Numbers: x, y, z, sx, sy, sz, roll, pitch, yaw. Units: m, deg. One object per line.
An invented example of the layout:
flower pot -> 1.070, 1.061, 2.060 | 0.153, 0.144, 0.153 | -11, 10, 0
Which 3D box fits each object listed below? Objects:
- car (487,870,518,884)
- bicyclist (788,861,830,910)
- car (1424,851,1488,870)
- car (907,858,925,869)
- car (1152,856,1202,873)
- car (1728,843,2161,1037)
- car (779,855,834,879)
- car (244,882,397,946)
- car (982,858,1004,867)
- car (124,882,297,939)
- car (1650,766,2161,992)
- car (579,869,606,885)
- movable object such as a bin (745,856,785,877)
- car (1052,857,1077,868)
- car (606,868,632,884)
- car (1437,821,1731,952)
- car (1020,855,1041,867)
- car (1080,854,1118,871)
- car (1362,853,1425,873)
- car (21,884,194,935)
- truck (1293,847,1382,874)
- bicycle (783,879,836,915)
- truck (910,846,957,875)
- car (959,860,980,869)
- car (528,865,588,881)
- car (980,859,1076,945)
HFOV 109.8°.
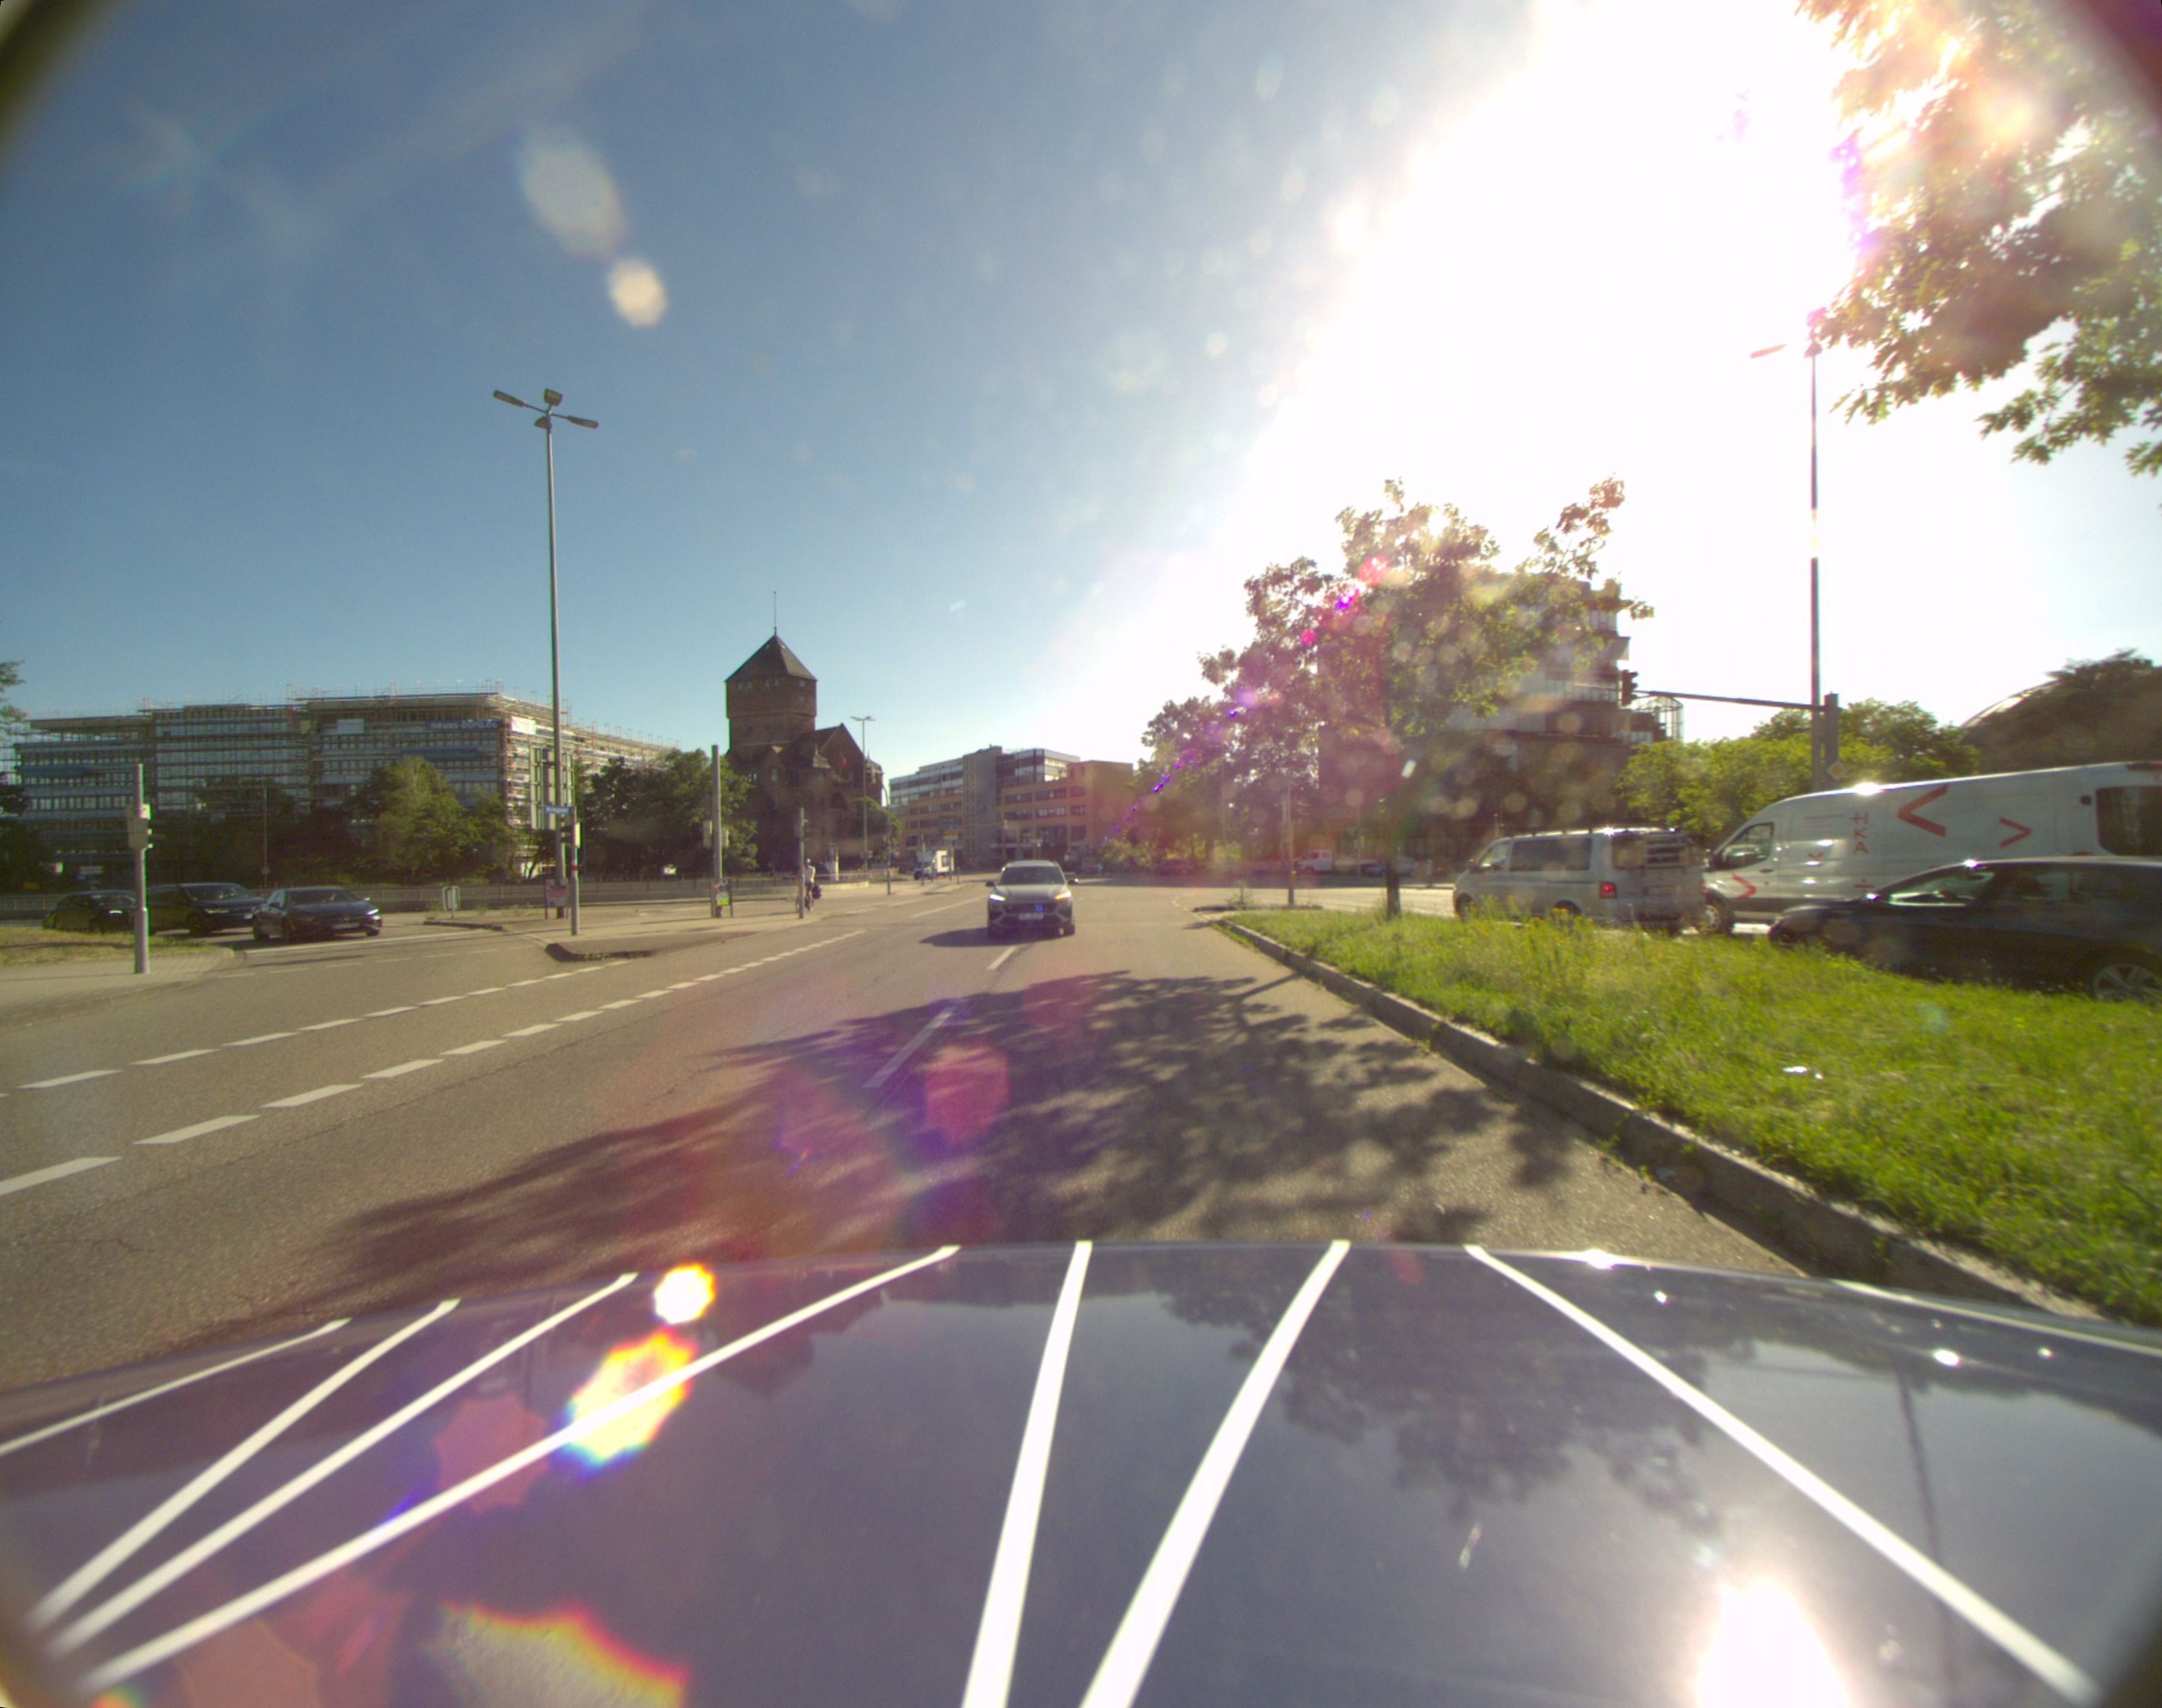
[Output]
car -> -62.618, 2.487, 82.334 | 2.003, 1.445, 3.773 | -1, 0, -27
bicyclist -> -9.399, 1.076, 26.293 | 0.725, 1.650, 1.114 | -2, 1, 21
car -> 31.416, 0.538, 63.709 | 4.458, 1.532, 1.950 | -1, 0, -10
car -> -27.220, 1.549, 125.021 | 1.760, 1.749, 4.775 | -1, 0, -27
car -> 9.444, 1.031, 74.723 | 4.497, 1.635, 1.884 | -1, 0, 29
car -> 9.885, 0.717, 8.074 | 1.942, 1.613, 4.503 | -1, 0, -5
car -> -27.190, 1.231, 75.376 | 4.793, 2.248, 1.946 | -1, 0, -35
car -> -21.078, 1.581, 21.037 | 4.233, 1.543, 1.864 | -1, 0, 29
car -> -14.709, 1.433, 126.840 | 1.642, 1.514, 4.149 | -2, 0, -40
car -> -27.416, 1.744, 23.939 | 4.668, 1.607, 1.863 | -1, 0, 18
car -> 12.244, 0.280, 11.743 | 1.942, 2.561, 6.085 | -1, 0, -5
car -> -51.301, 2.385, 79.857 | 2.003, 1.552, 3.773 | -1, 0, -27
movable object such as a bin -> -37.506, 1.471, 90.328 | 3.991, 2.395, 2.003 | -1, 1, 18
car -> -2.429, 1.294, 110.968 | 1.663, 1.499, 4.368 | 1, -2, -33
car -> -48.317, 2.305, 79.562 | 2.003, 1.552, 3.773 | -1, 0, -27
car -> 9.020, 0.501, 14.313 | 1.942, 1.996, 4.929 | -1, 0, -5
car -> -6.601, 0.939, 98.456 | 1.881, 1.349, 4.506 | 0, -4, -14
car -> 1.934, 0.923, 83.043 | 1.818, 1.690, 4.185 | -2, 0, -40
car -> 25.798, 0.734, 62.748 | 4.458, 1.532, 1.950 | -1, 0, -10
car -> -33.442, 1.885, 26.134 | 4.670, 1.607, 1.863 | -1, 0, 13
truck -> 23.801, 0.567, 70.800 | 7.507, 2.346, 2.164 | -1, 0, 3
bicycle -> -9.397, 1.478, 26.376 | 0.692, 1.095, 1.828 | -2, 1, 21
truck -> -16.999, 0.709, 88.098 | 2.500, 3.110, 6.966 | -1, 0, 14
car -> -19.490, 1.793, 132.599 | 1.884, 1.514, 4.150 | -1, 0, -38
car -> -50.845, 1.839, 73.949 | 4.630, 1.462, 1.881 | -1, 1, 6
car -> -1.102, 0.972, 17.172 | 1.879, 1.612, 4.195 | -1, 1, -1
